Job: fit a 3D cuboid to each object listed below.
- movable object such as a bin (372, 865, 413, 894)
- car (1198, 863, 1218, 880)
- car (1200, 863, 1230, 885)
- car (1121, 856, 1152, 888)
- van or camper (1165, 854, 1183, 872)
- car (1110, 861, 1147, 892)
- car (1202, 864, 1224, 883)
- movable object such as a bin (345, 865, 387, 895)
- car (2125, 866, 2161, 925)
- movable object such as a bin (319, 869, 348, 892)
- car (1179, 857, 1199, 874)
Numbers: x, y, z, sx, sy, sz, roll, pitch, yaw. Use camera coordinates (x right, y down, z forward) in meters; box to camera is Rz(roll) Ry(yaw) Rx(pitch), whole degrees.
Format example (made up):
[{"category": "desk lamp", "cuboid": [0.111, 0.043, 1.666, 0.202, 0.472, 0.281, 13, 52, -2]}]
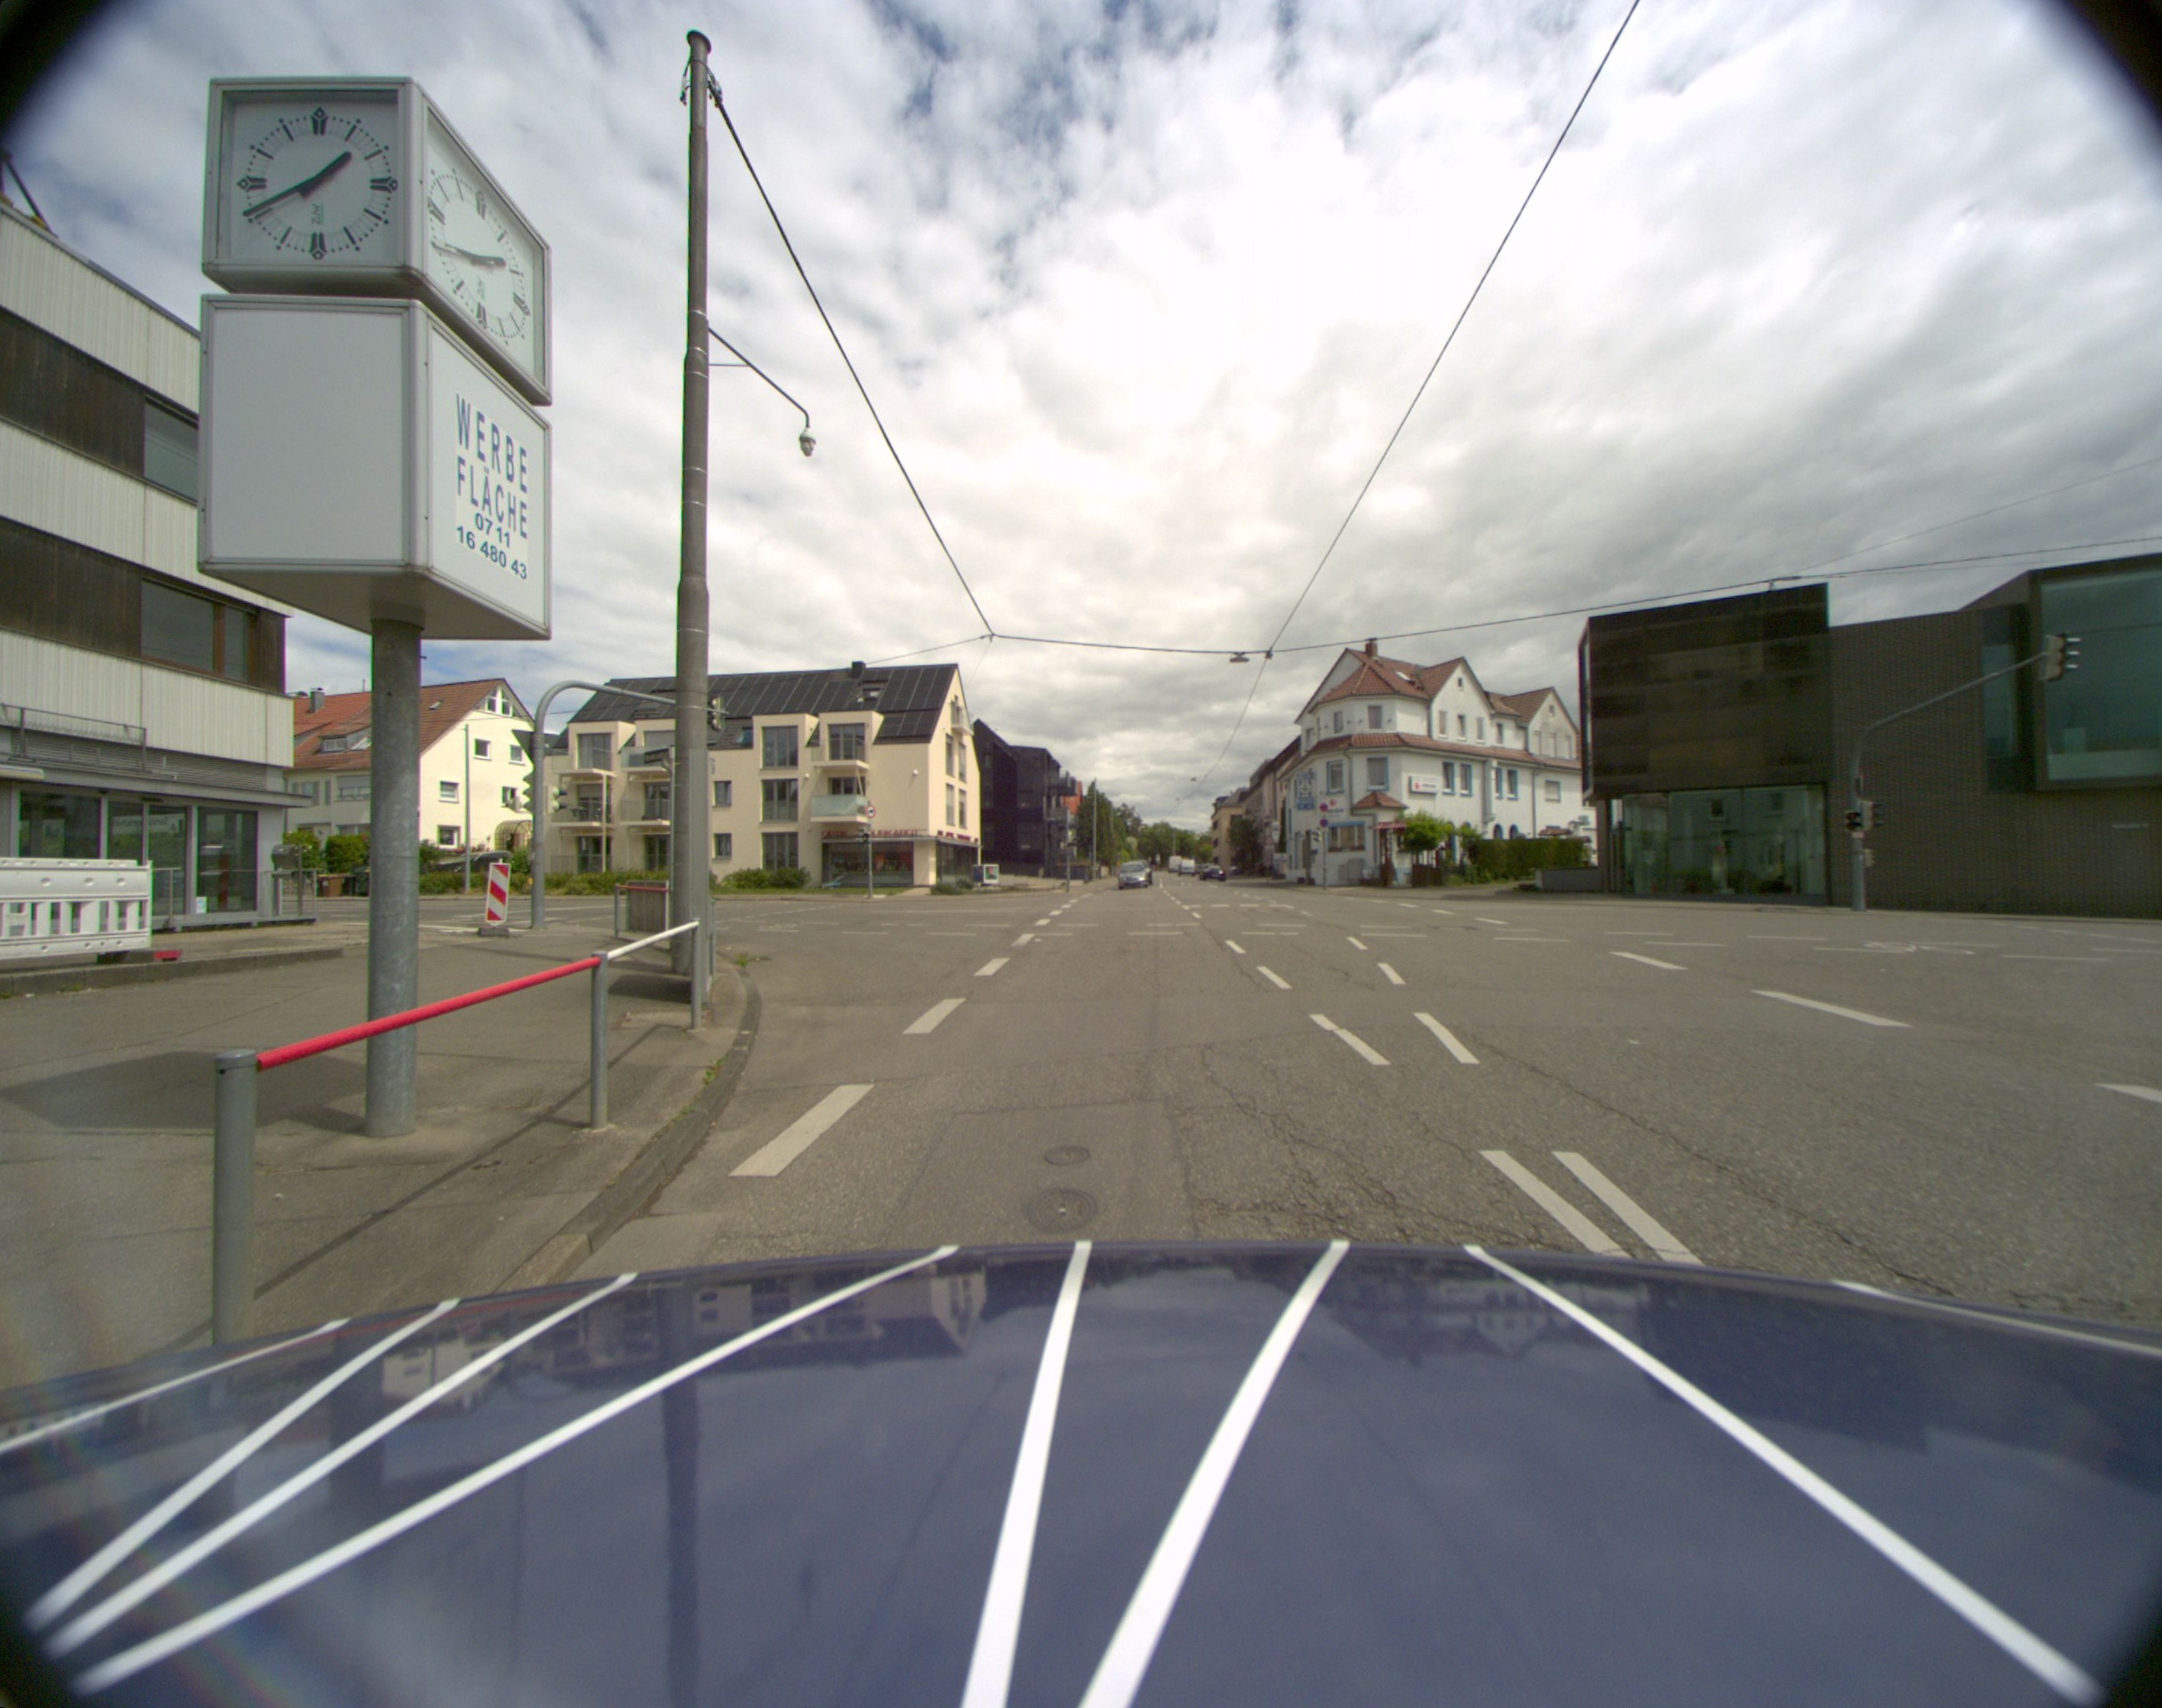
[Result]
[{"category": "movable object such as a bin", "cuboid": [-32.990, 1.207, 36.417, 0.979, 1.354, 1.094, 0, 0, 12]}, {"category": "car", "cuboid": [15.114, 2.038, 90.462, 1.998, 2.001, 4.002, 1, 0, 4]}, {"category": "car", "cuboid": [10.498, 1.554, 59.796, 1.997, 1.521, 4.002, 3, 0, 7]}, {"category": "car", "cuboid": [3.709, 1.180, 50.434, 1.998, 2.001, 4.002, 0, 0, 5]}, {"category": "van or camper", "cuboid": [14.091, 1.423, 115.498, 2.112, 2.571, 5.646, 3, -1, 1]}, {"category": "car", "cuboid": [2.810, 1.285, 44.515, 1.997, 1.674, 4.002, 1, 0, 6]}, {"category": "car", "cuboid": [14.770, 2.139, 85.276, 1.998, 2.001, 4.001, 1, 0, 4]}, {"category": "movable object such as a bin", "cuboid": [-34.530, 1.246, 36.699, 0.979, 1.438, 1.094, 0, 0, 12]}, {"category": "car", "cuboid": [32.430, 1.308, 21.314, 1.995, 1.631, 4.005, 1, 4, 26]}, {"category": "movable object such as a bin", "cuboid": [-35.679, 1.259, 36.266, 0.691, 1.059, 0.765, 0, 0, 19]}, {"category": "car", "cuboid": [12.337, 1.310, 86.959, 1.820, 1.800, 4.421, 1, -1, 4]}]
